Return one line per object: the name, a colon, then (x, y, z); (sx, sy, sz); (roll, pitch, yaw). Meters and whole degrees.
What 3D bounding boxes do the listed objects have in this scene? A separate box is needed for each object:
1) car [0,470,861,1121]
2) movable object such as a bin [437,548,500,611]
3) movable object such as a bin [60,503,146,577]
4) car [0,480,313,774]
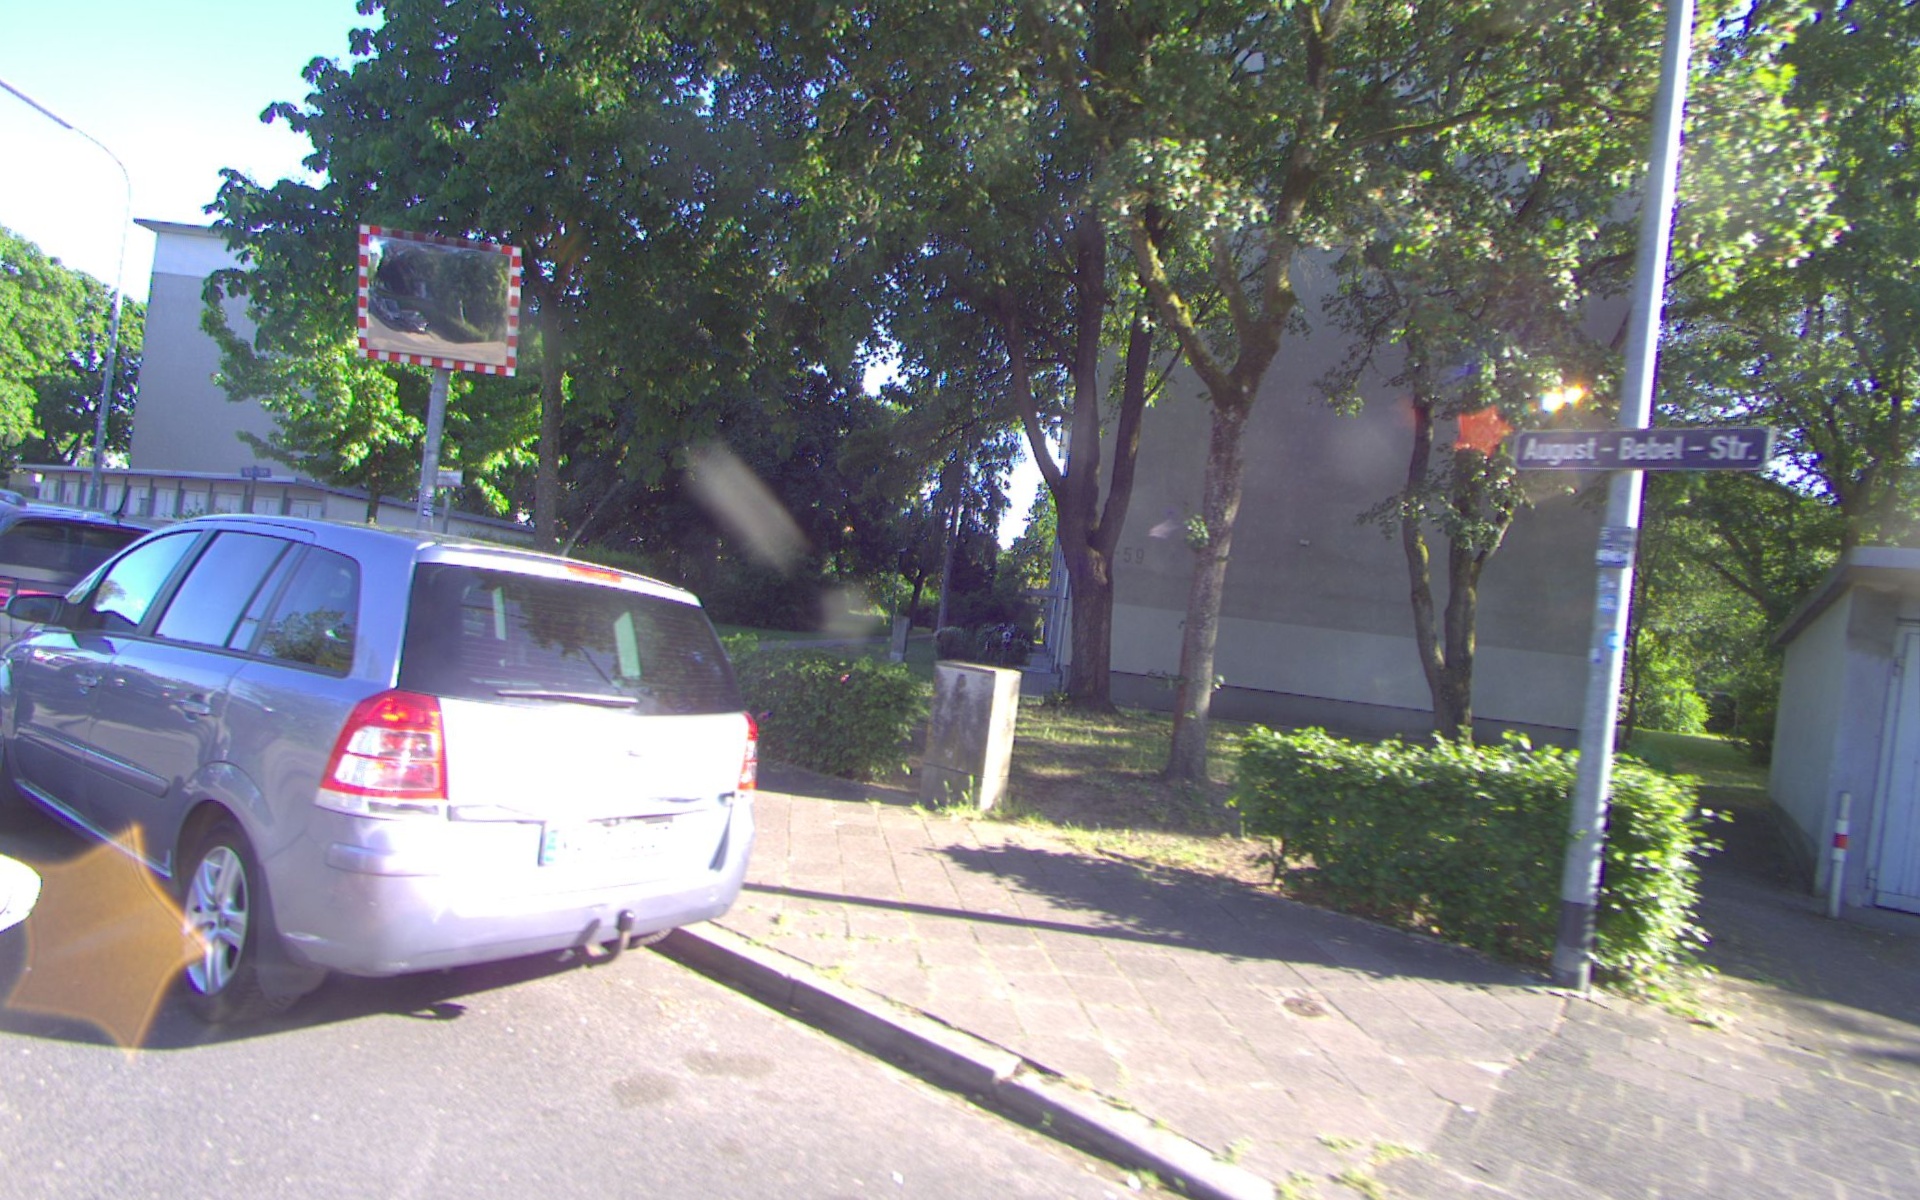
car: (-2.746, 0.439, 4.506); (4.303, 1.628, 1.771); (6, -3, 34)
movable object such as a bin: (-12.398, -0.503, 25.396); (0.822, 1.434, 1.074); (5, -1, 41)
movable object such as a bin: (-18.243, -1.261, 21.410); (1.246, 1.363, 1.040); (7, -2, -43)
car: (-6.579, 0.052, 7.165); (3.960, 1.611, 1.807); (6, -3, 35)
